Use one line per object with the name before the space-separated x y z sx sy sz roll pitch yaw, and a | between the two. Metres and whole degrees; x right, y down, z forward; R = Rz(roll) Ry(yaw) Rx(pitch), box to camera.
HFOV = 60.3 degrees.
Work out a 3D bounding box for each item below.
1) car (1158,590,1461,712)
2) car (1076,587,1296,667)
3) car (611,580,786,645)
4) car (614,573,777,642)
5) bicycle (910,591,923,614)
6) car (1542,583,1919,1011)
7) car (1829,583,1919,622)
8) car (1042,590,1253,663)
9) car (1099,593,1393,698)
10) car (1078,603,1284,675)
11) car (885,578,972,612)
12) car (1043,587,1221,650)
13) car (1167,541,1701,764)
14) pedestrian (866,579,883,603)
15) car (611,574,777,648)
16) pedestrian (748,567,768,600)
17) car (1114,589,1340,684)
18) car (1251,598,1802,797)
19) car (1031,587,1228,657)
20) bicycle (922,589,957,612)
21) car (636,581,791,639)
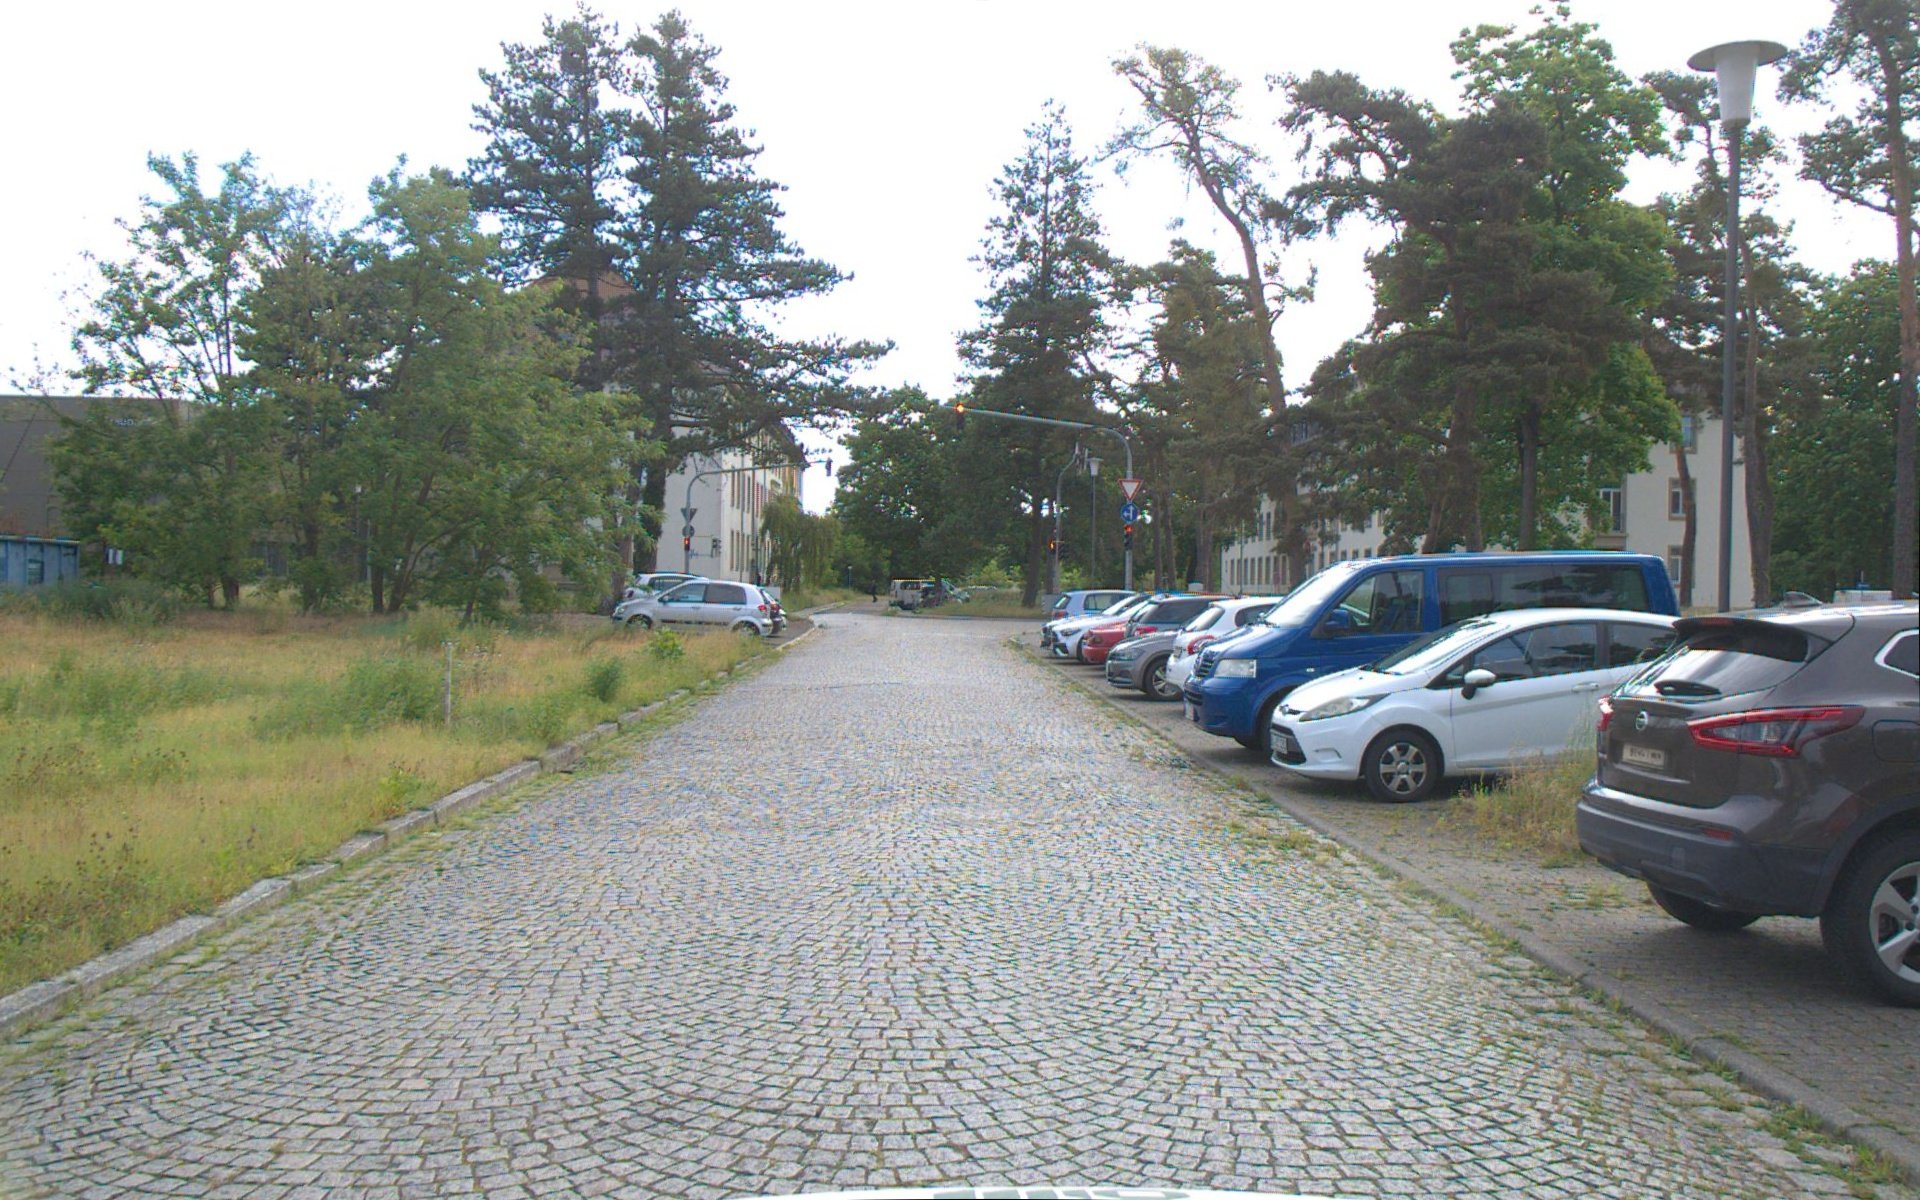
car | 4.499 0.629 21.636 3.580 1.504 1.765 0 1 -2
car | 4.377 0.513 32.375 4.024 1.502 1.683 0 1 -4
car | -6.490 0.289 41.303 4.217 1.581 1.809 0 1 -8
car | -7.007 0.181 44.089 4.216 1.762 1.650 0 1 -7
bicycle | -2.308 0.126 87.301 0.649 1.191 1.887 2 0 -2
car | 5.023 0.738 7.441 4.121 1.623 1.951 0 1 -4
car | 53.119 0.134 95.054 5.193 2.055 2.105 2 0 -1
car | 3.896 0.525 34.720 4.108 1.462 1.751 0 1 -9
car | 4.169 0.650 24.529 4.047 1.472 1.765 0 1 -2
car | 3.963 0.689 30.017 3.513 1.244 1.628 0 1 -1
car | -2.042 -0.328 106.756 5.285 2.138 2.170 1 0 -14
car | 4.134 0.428 40.051 4.057 1.489 1.631 0 1 -7
car | 4.549 0.465 16.326 4.701 2.039 1.965 0 1 -4
pedestrian | -7.069 -0.748 136.497 1.216 1.993 1.119 2 0 -7
car | -6.174 0.248 38.718 3.648 1.506 1.671 3 0 -5
pedestrian | -12.715 -1.029 104.039 1.053 1.993 1.121 2 0 -2
car | 4.370 0.576 27.405 3.435 1.513 1.742 0 1 -3
car | 4.609 0.748 13.784 4.018 1.504 1.720 0 1 -5
car | 3.822 0.477 37.485 4.155 1.505 1.704 0 1 -13
bicycle | -1.127 0.005 91.982 1.846 1.191 0.664 2 0 -8
car | -6.905 0.247 46.548 4.217 1.581 1.809 0 1 -8
